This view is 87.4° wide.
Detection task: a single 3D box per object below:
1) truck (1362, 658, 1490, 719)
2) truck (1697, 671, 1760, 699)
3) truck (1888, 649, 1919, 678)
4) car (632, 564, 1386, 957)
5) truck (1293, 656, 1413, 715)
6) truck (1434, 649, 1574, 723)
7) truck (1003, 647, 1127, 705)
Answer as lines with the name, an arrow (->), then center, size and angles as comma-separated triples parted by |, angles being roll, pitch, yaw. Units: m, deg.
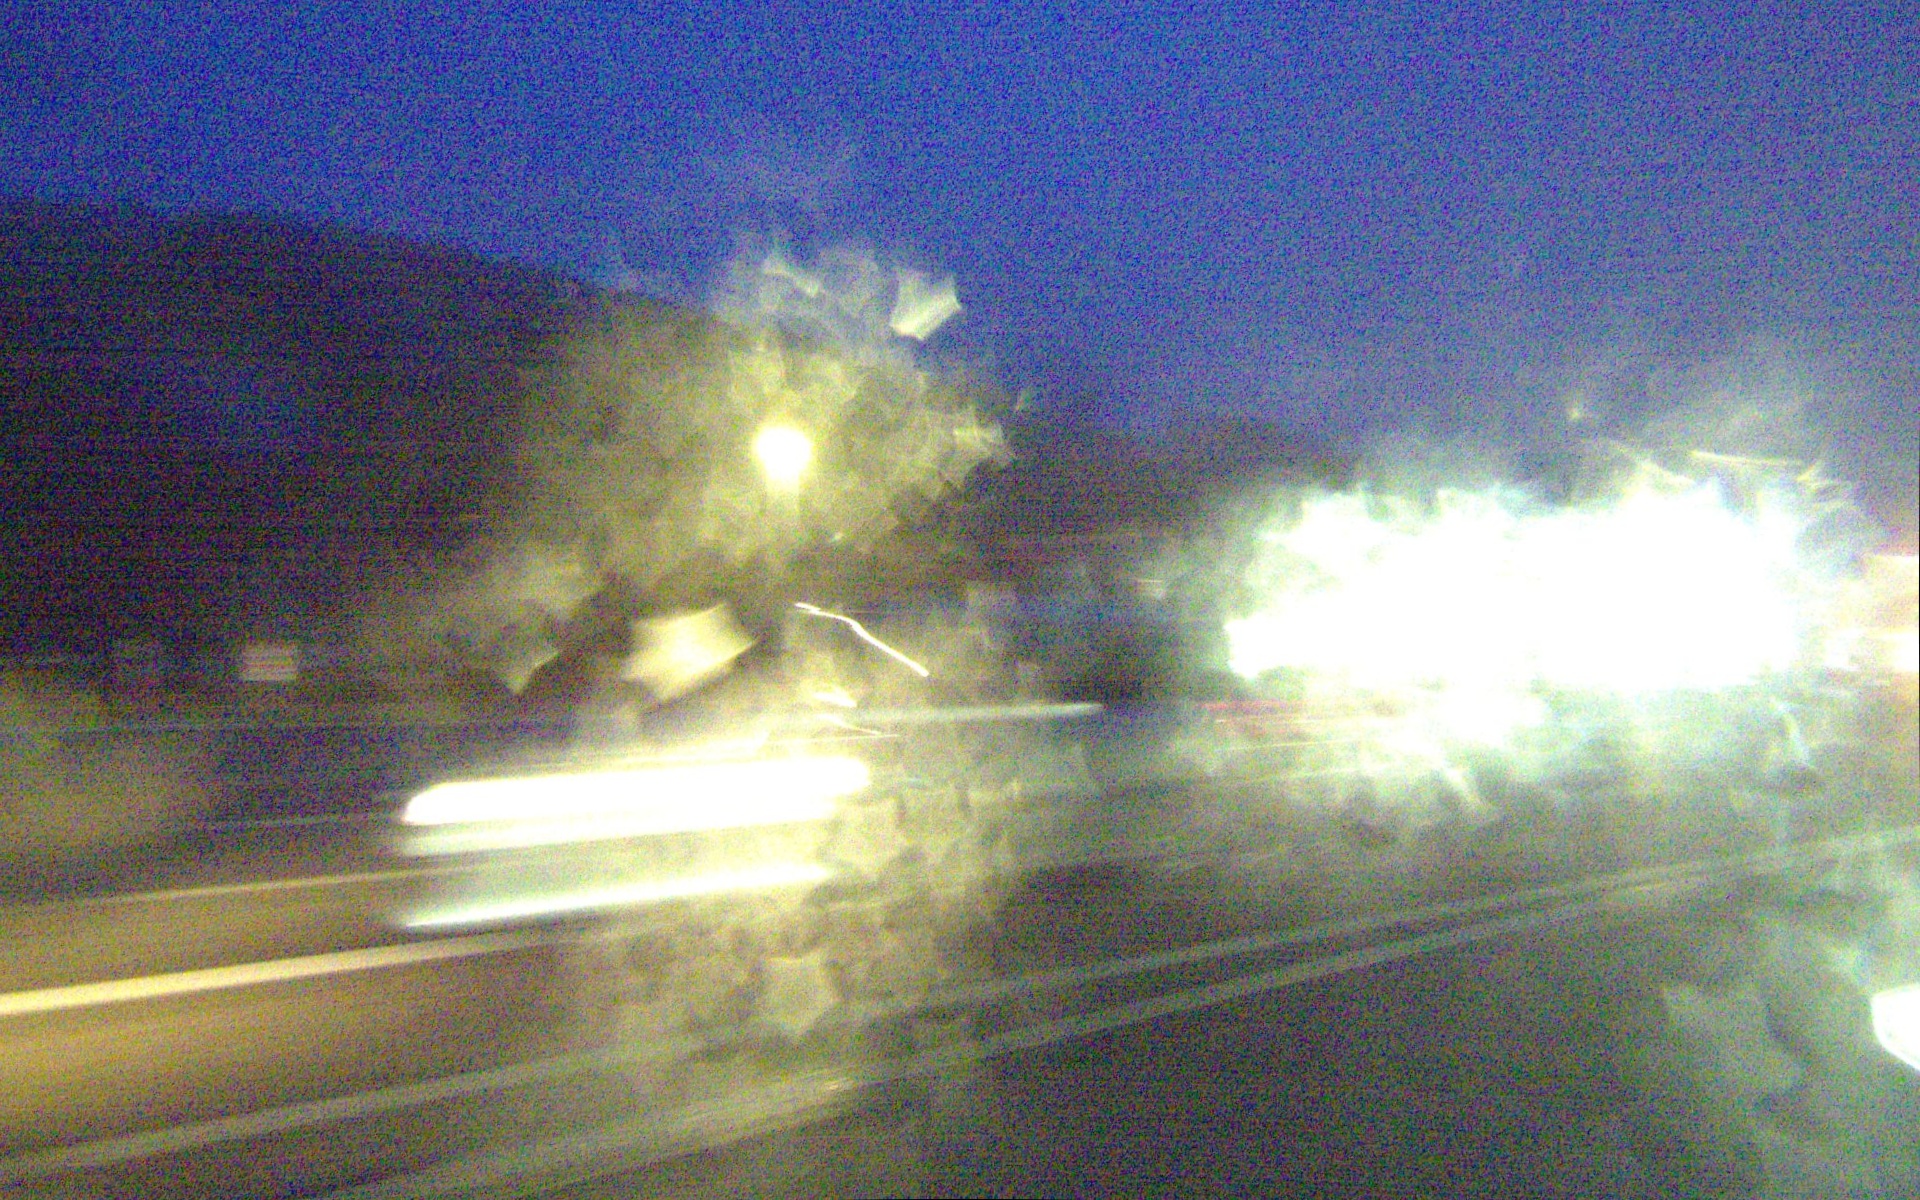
truck -> 25.431, 4.856, 54.739 | 6.960, 3.136, 2.428 | 3, -6, -26
truck -> 61.184, 6.774, 79.951 | 4.435, 2.145, 2.079 | 2, -6, -25
truck -> 90.633, 5.982, 94.847 | 6.410, 2.495, 2.311 | 2, 0, -27
car -> 0.332, 0.665, 5.498 | 3.812, 1.511, 1.645 | 2, 0, -28
truck -> 23.084, 5.069, 58.916 | 6.960, 3.301, 2.428 | 3, -6, -26
truck -> 27.518, 4.369, 50.767 | 6.957, 3.524, 2.461 | 3, -6, -25
truck -> 5.805, 4.145, 55.327 | 6.601, 3.085, 2.164 | 1, -4, -23
